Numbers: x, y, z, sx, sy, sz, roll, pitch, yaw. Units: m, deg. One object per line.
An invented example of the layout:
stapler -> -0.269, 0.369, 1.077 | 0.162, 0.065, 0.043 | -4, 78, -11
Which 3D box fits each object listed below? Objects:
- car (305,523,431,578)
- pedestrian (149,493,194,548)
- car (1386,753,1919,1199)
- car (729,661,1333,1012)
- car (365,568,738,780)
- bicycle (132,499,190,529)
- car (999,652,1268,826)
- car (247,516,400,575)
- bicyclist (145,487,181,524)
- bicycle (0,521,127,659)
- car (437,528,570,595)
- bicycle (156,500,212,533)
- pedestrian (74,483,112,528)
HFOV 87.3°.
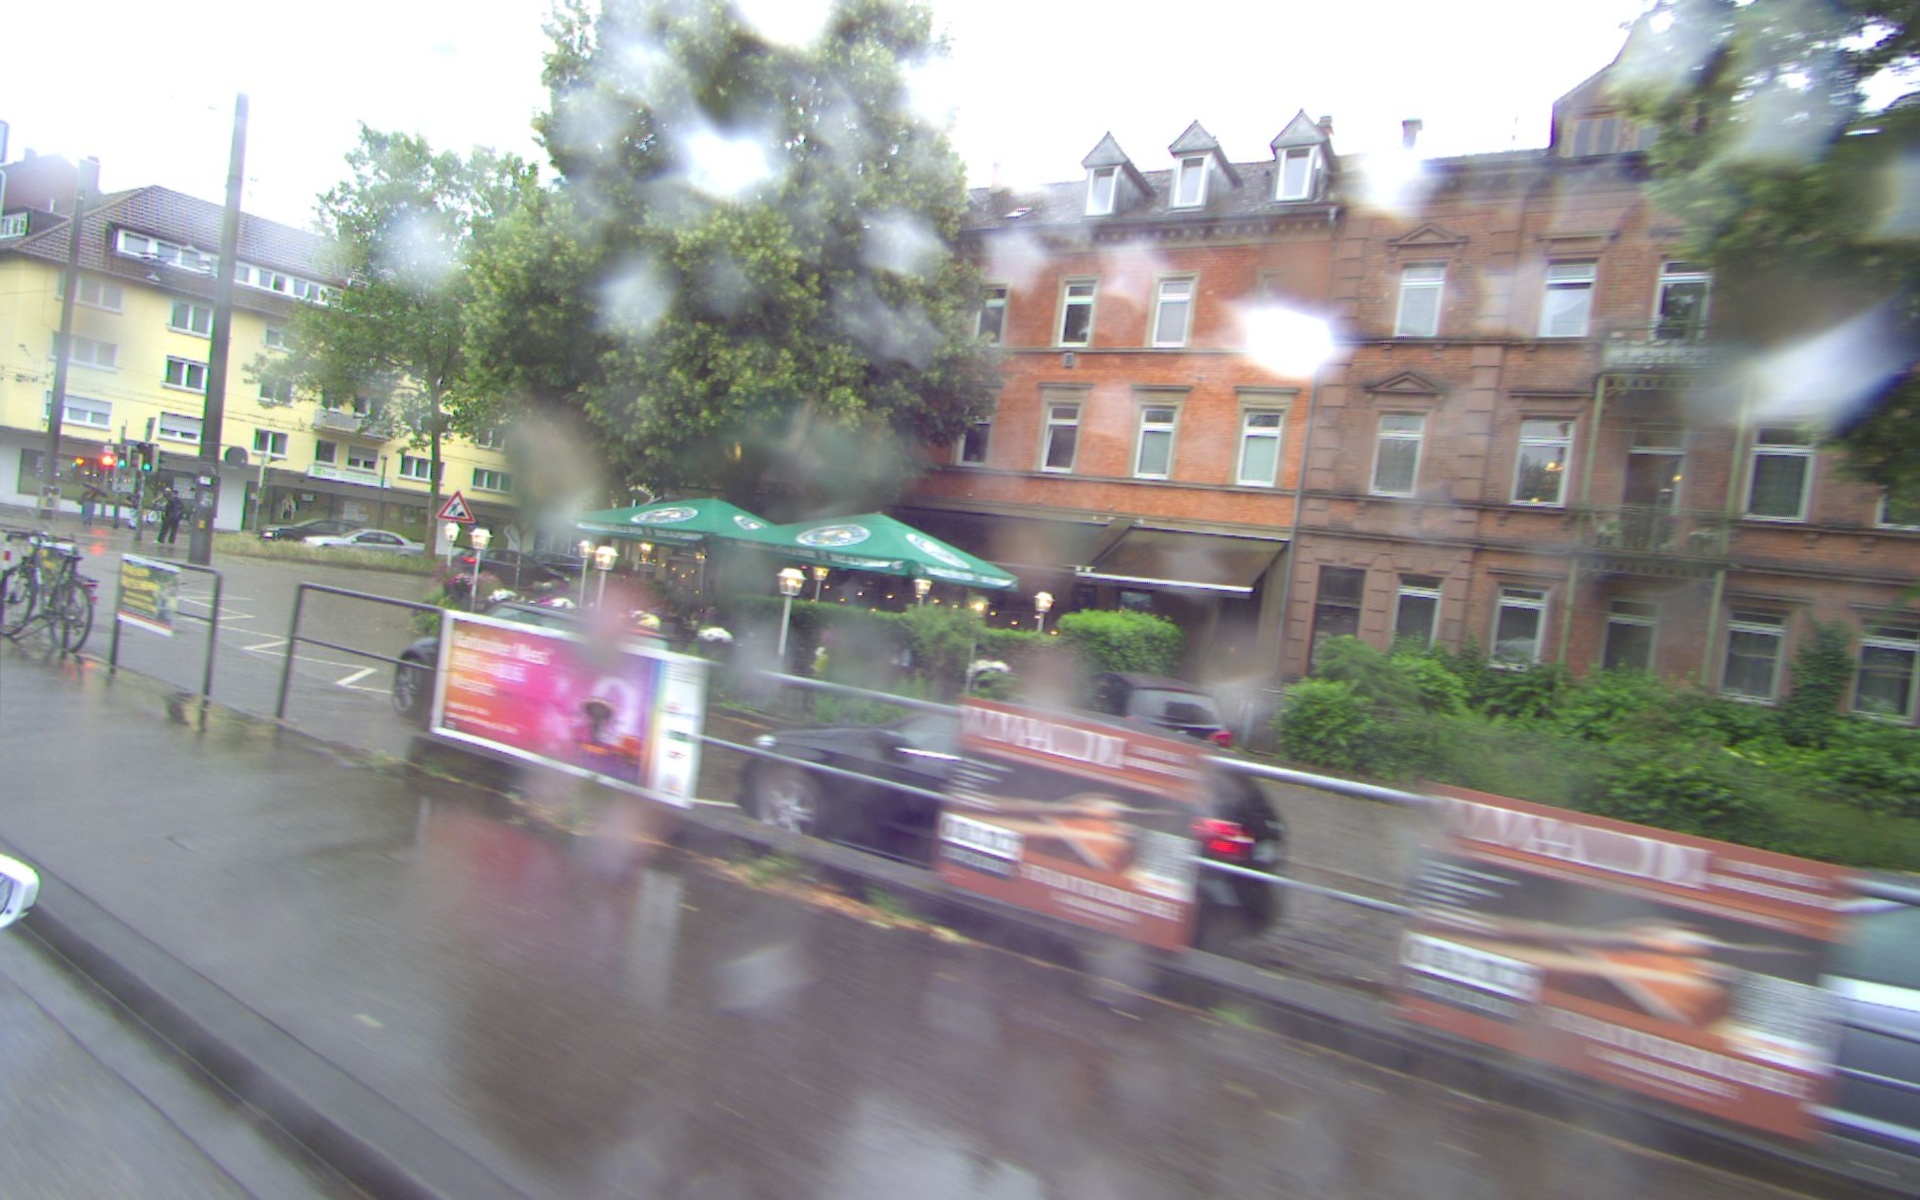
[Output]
car -> -23.373, -1.933, 39.772 | 3.926, 1.508, 1.784 | 9, 0, -42
pedestrian -> -26.622, -2.660, 33.989 | 0.898, 1.689, 1.012 | 8, 0, -31
car -> 4.458, 1.931, 4.984 | 4.006, 1.557, 1.736 | 7, -1, 30
car -> 0.425, 1.443, 7.303 | 3.907, 1.416, 1.706 | 7, -1, 32
car -> -4.205, 0.720, 10.240 | 3.468, 1.457, 1.710 | 8, -3, 34
bicycle -> -37.962, -4.072, 47.786 | 0.651, 1.039, 2.014 | 7, -1, 44
car -> 2.294, 1.865, 14.482 | 1.972, 1.733, 3.984 | 8, -1, -19
car -> -26.102, -2.195, 41.385 | 1.975, 1.661, 4.928 | 4, -4, 44
bicyclist -> -37.860, -4.509, 47.798 | 0.924, 1.566, 1.064 | 7, -1, 43
bicycle -> -9.026, -0.128, 9.964 | 1.984, 1.119, 0.515 | 7, -3, 34
car -> -17.298, -1.436, 38.220 | 1.972, 1.887, 3.984 | 7, -2, 41
bicycle -> -39.192, -4.213, 50.832 | 2.096, 1.277, 0.525 | 9, 0, -44
pedestrian -> -32.960, -3.586, 38.250 | 0.612, 1.552, 0.816 | 7, 0, -6
